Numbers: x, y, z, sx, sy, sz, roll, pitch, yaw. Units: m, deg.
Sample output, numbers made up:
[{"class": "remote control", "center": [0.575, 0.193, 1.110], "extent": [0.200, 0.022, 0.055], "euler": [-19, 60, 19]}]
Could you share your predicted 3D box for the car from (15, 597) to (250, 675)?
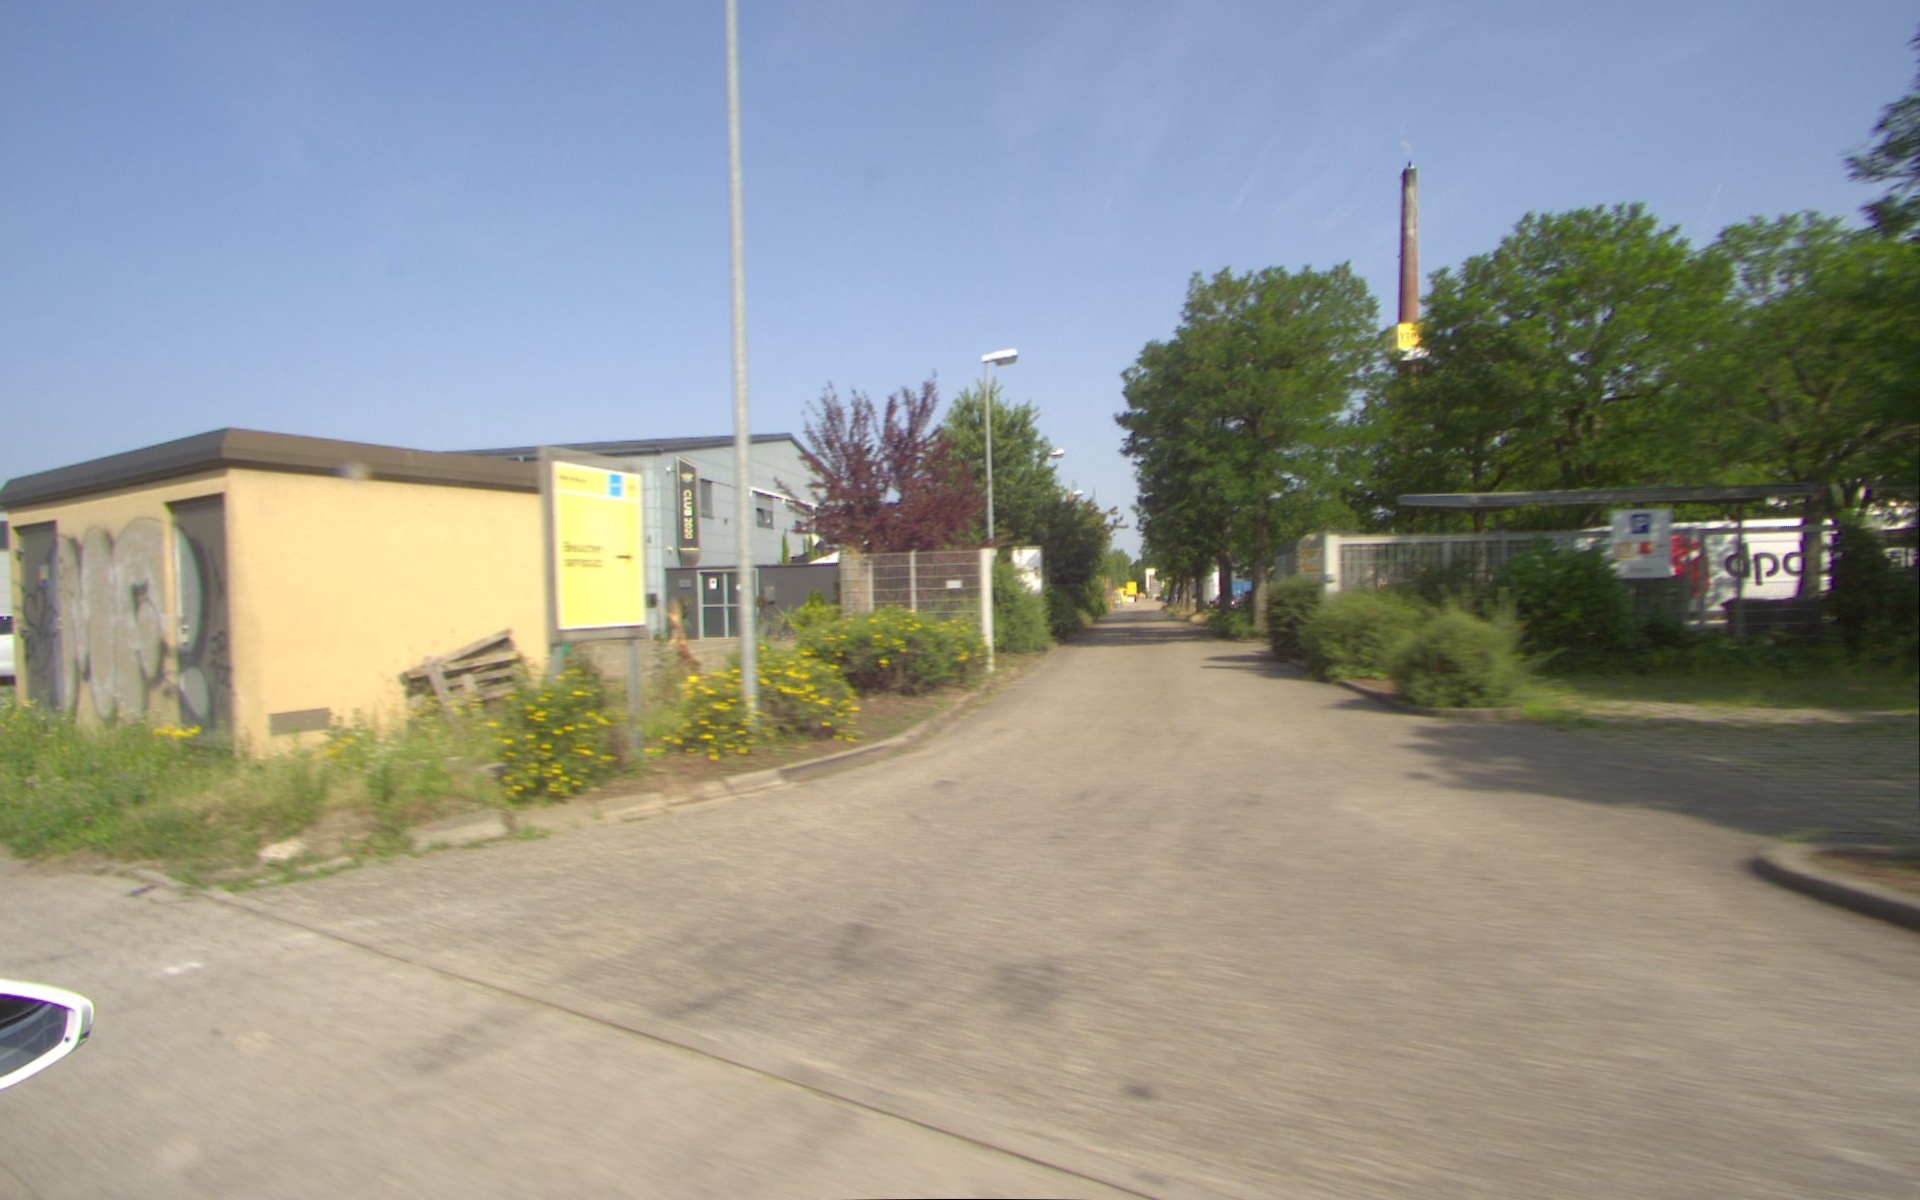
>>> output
[{"class": "car", "center": [-18.485, 0.791, 22.452], "extent": [4.053, 1.593, 1.719], "euler": [-1, 1, 8]}]

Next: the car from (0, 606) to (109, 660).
[{"class": "car", "center": [-27.919, 0.972, 29.602], "extent": [4.375, 1.486, 1.643], "euler": [-1, 1, 8]}]

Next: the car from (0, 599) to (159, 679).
[{"class": "car", "center": [-18.808, 0.783, 20.198], "extent": [4.180, 1.486, 1.692], "euler": [-1, 1, 8]}]

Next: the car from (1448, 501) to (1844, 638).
[{"class": "car", "center": [14.592, -0.611, 21.789], "extent": [6.763, 2.644, 2.218], "euler": [-1, 2, 11]}]
